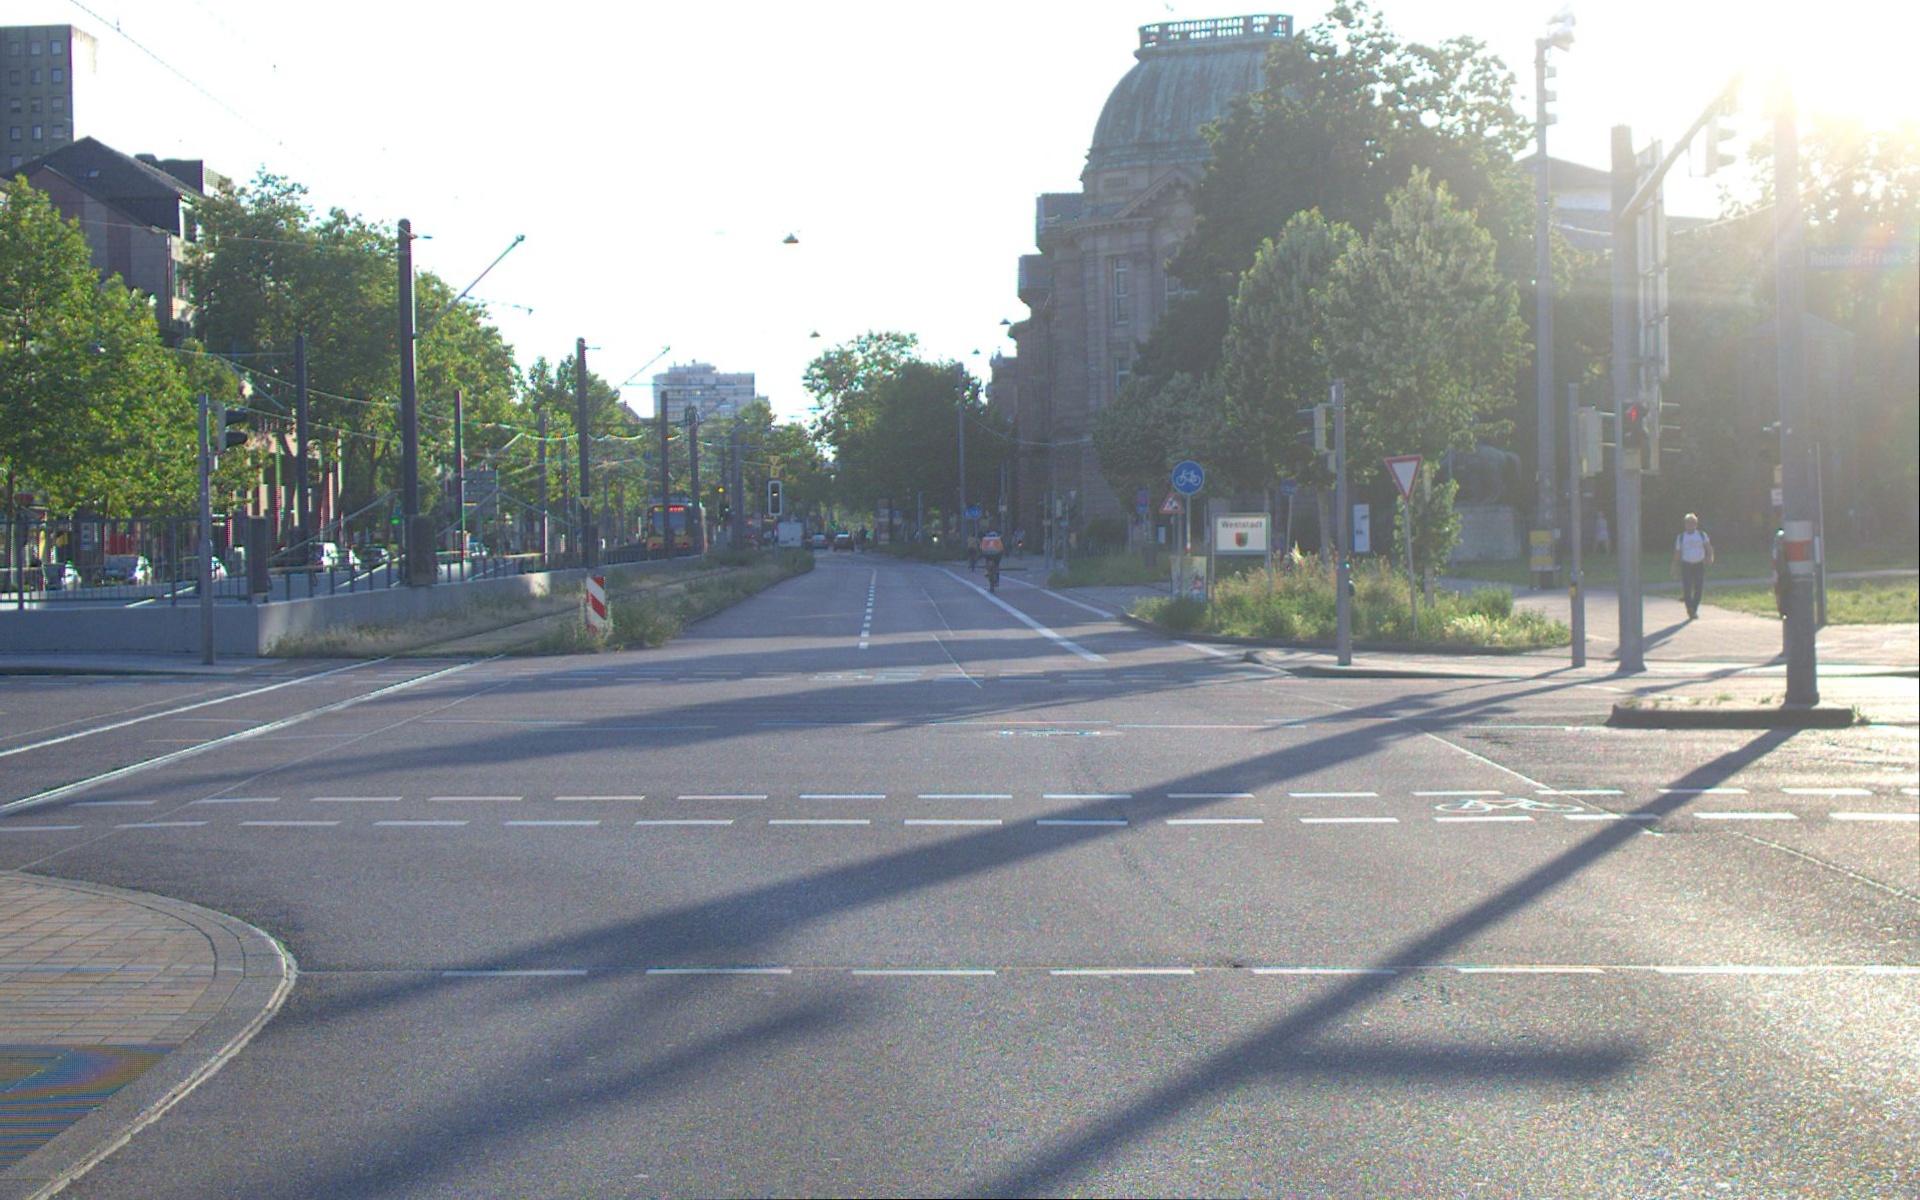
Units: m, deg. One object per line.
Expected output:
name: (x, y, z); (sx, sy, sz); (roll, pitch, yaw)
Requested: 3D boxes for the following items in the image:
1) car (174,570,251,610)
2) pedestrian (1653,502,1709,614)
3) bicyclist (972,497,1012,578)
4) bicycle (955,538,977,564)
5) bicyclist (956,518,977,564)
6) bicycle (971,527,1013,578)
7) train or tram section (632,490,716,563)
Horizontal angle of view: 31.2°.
car: (-28.060, -0.394, 129.106); (1.819, 1.415, 4.000); (-1, 1, 3)
pedestrian: (11.757, -0.692, 56.065); (0.833, 1.797, 0.810); (-1, 1, 15)
bicyclist: (0.884, -1.749, 96.271); (1.082, 2.268, 0.986); (0, 1, -1)
bicycle: (0.280, -2.175, 152.233); (0.924, 1.108, 2.333); (-1, 1, -1)
bicyclist: (0.280, -2.611, 152.203); (0.925, 2.007, 0.850); (-1, 1, -1)
bicycle: (0.882, -1.335, 96.450); (1.098, 1.394, 2.832); (-1, 1, -1)
train or tram section: (-15.723, -4.050, 189.047); (4.385, 3.837, 11.412); (-1, 1, -5)
